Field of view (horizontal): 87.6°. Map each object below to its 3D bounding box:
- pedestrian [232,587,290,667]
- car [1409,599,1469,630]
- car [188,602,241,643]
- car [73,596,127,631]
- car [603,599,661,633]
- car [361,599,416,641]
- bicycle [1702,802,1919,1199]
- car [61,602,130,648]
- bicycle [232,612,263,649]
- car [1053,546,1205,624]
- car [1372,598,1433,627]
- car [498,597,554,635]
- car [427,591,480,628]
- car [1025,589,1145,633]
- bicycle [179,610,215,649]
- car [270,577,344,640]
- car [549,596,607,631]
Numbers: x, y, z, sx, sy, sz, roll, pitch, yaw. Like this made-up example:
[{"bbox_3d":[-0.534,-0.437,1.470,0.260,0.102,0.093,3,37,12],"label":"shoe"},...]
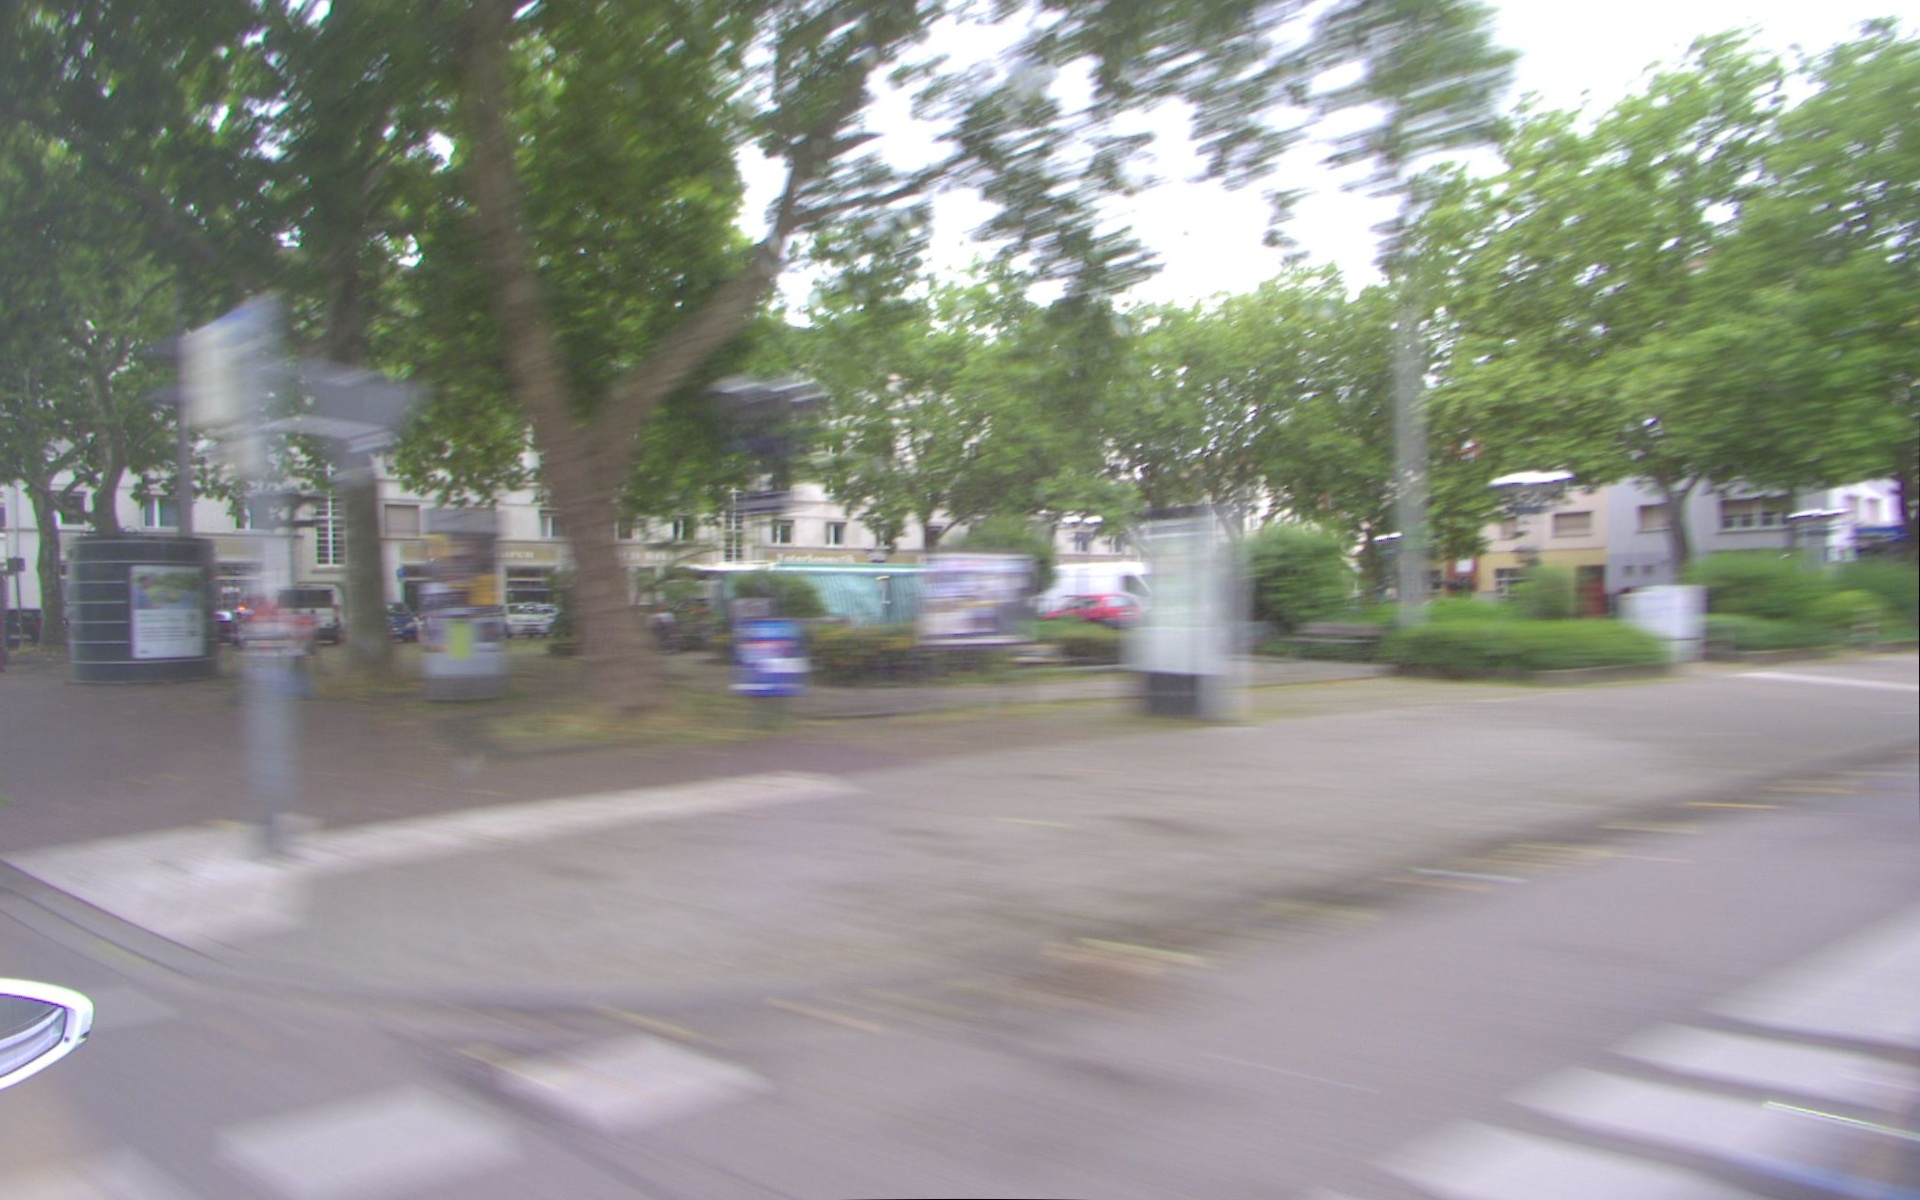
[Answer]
[{"bbox_3d":[-15.723,0.590,22.525,0.912,1.767,0.782,0,1,33],"label":"pedestrian"},{"bbox_3d":[27.042,0.791,56.492,3.766,1.644,1.502,-1,1,-36],"label":"car"},{"bbox_3d":[-27.624,0.789,37.088,1.501,1.447,3.969,-1,0,-38],"label":"car"},{"bbox_3d":[-37.098,0.572,43.260,1.501,1.447,3.969,-1,0,-38],"label":"car"},{"bbox_3d":[-14.990,0.695,45.675,1.776,1.460,3.806,0,0,-30],"label":"car"},{"bbox_3d":[-22.629,0.739,39.682,1.776,1.564,3.806,0,0,-30],"label":"car"},{"bbox_3d":[2.311,0.943,1.296,2.106,1.113,0.493,-1,1,28],"label":"bicycle"},{"bbox_3d":[-29.141,0.804,33.844,1.501,1.447,3.969,-1,0,-38],"label":"car"},{"bbox_3d":[-23.863,0.995,33.579,0.615,1.183,2.320,-1,1,-30],"label":"bicycle"},{"bbox_3d":[6.197,-0.527,37.266,2.219,2.675,5.395,-1,1,-42],"label":"car"},{"bbox_3d":[26.001,0.723,58.756,3.762,1.644,1.504,-1,1,-33],"label":"car"},{"bbox_3d":[-18.406,0.634,42.368,1.776,1.536,3.806,0,0,-30],"label":"car"},{"bbox_3d":[-21.157,0.374,41.780,1.776,1.460,3.806,0,0,-30],"label":"car"},{"bbox_3d":[4.271,0.336,34.743,1.715,1.417,4.264,0,1,-36],"label":"car"},{"bbox_3d":[-24.860,0.936,32.655,0.615,1.183,2.320,-1,1,-30],"label":"bicycle"},{"bbox_3d":[-24.650,0.291,37.940,2.151,2.230,3.977,-1,1,-31],"label":"car"},{"bbox_3d":[-16.605,0.559,43.459,1.776,1.460,3.806,0,0,-30],"label":"car"}]
